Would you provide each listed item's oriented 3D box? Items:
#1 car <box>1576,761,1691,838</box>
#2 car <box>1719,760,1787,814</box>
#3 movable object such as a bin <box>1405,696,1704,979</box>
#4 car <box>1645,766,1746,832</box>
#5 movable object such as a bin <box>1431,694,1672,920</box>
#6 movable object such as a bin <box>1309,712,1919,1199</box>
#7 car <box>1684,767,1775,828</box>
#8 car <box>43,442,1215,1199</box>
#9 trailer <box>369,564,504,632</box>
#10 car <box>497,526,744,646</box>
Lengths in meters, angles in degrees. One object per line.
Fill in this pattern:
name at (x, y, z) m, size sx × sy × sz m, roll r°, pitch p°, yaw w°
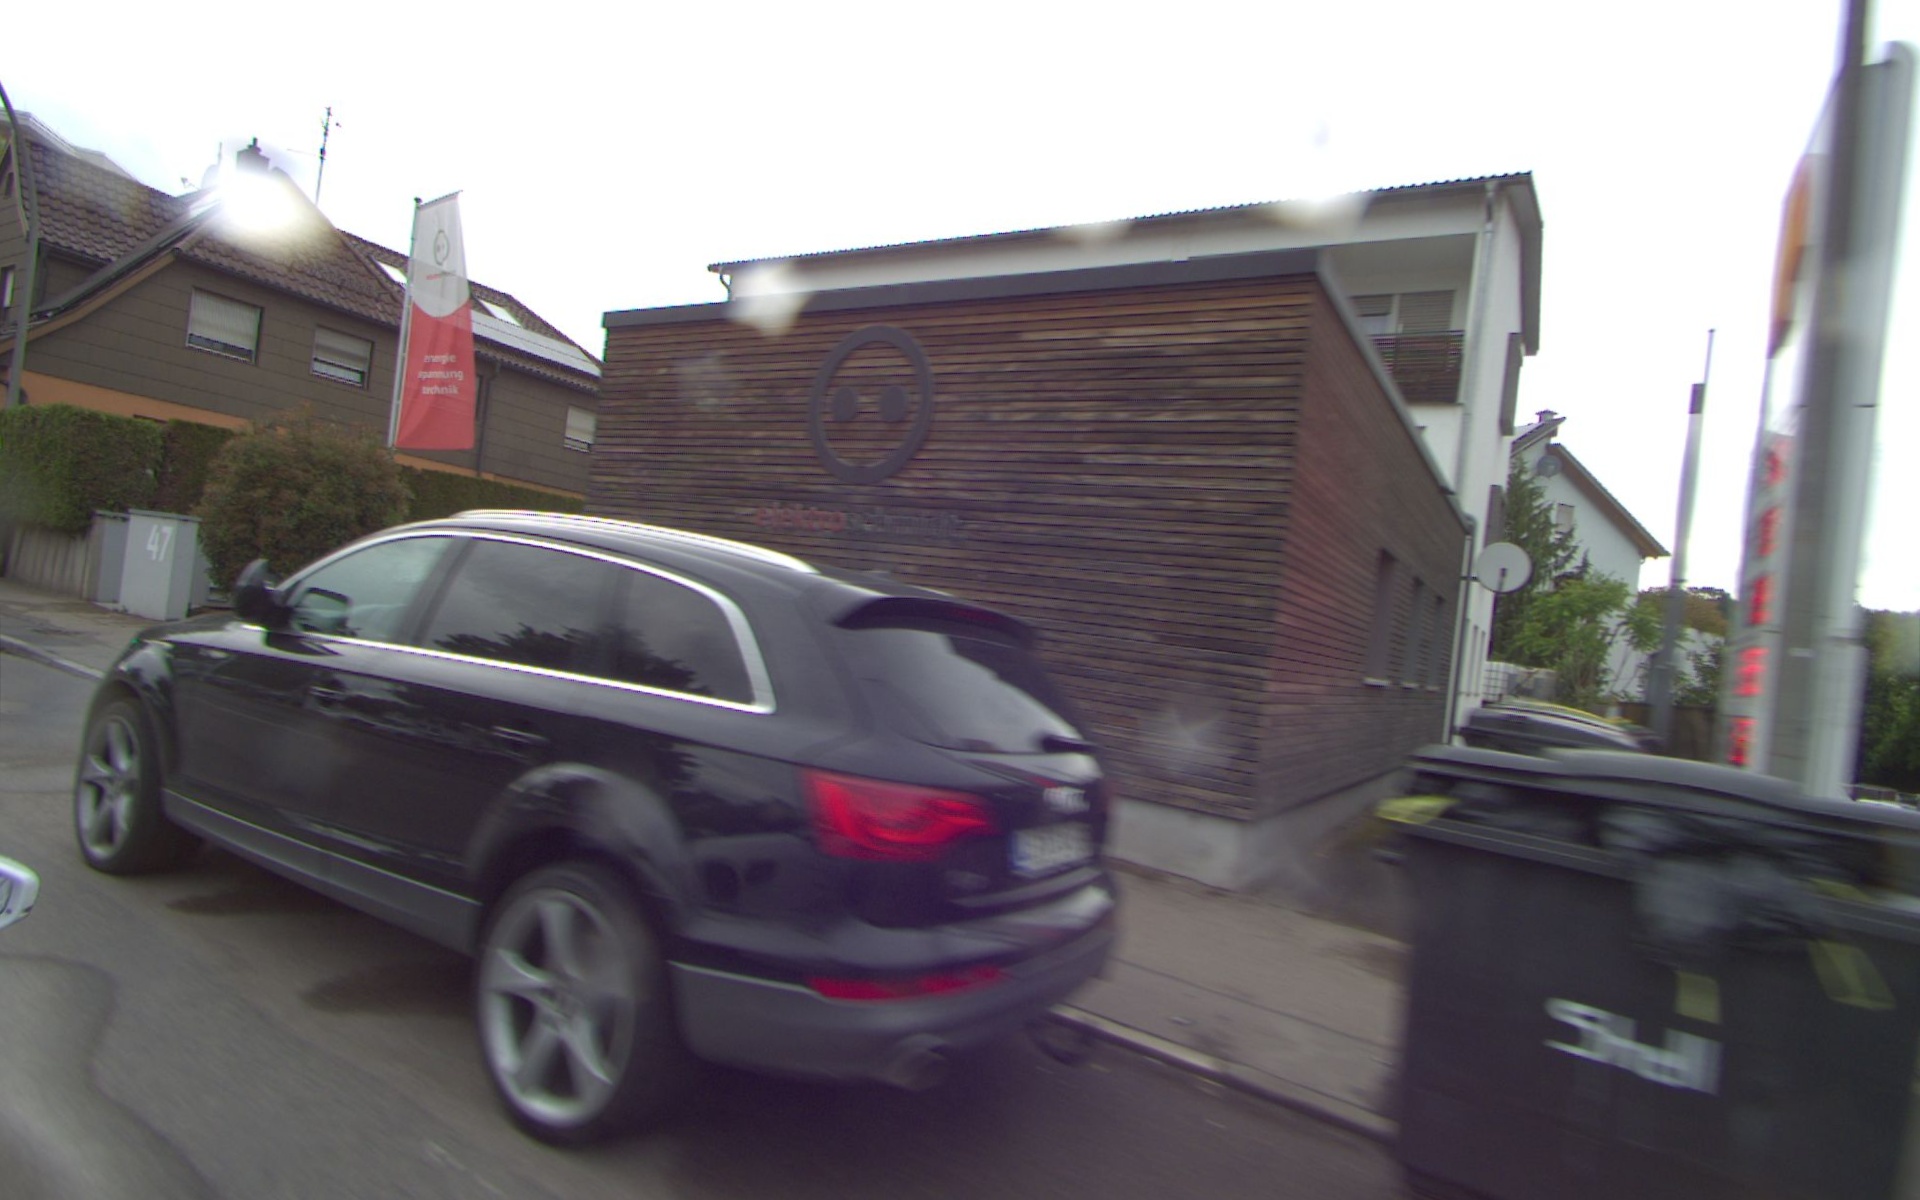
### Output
car at (17.024, 4.955, 25.354) m, size 1.656 × 1.393 × 3.818 m, roll 7°, pitch 0°, yaw 44°
car at (27.415, 6.427, 34.853) m, size 1.584 × 1.304 × 3.295 m, roll 7°, pitch 0°, yaw 36°
movable object such as a bin at (3.675, 1.381, 6.335) m, size 1.361 × 1.356 × 1.104 m, roll 7°, pitch 0°, yaw 30°
car at (21.234, 5.667, 28.988) m, size 3.816 × 1.393 × 1.657 m, roll 8°, pitch 0°, yaw -44°
movable object such as a bin at (4.499, 1.503, 7.746) m, size 1.361 × 1.356 × 1.104 m, roll 7°, pitch 0°, yaw 30°
movable object such as a bin at (1.876, 1.129, 2.718) m, size 1.478 × 1.405 × 1.129 m, roll 7°, pitch 0°, yaw 30°
car at (24.115, 6.126, 31.487) m, size 3.561 × 1.393 × 1.657 m, roll 8°, pitch 0°, yaw -44°
car at (-1.543, 0.506, 4.205) m, size 4.483 × 1.681 × 2.096 m, roll 8°, pitch -2°, yaw 32°
trailer at (-9.227, -0.028, 17.820) m, size 0.904 × 1.048 × 1.916 m, roll 7°, pitch 3°, yaw 26°
car at (-6.418, -0.186, 19.594) m, size 1.827 × 1.924 × 4.467 m, roll 7°, pitch 1°, yaw 26°
